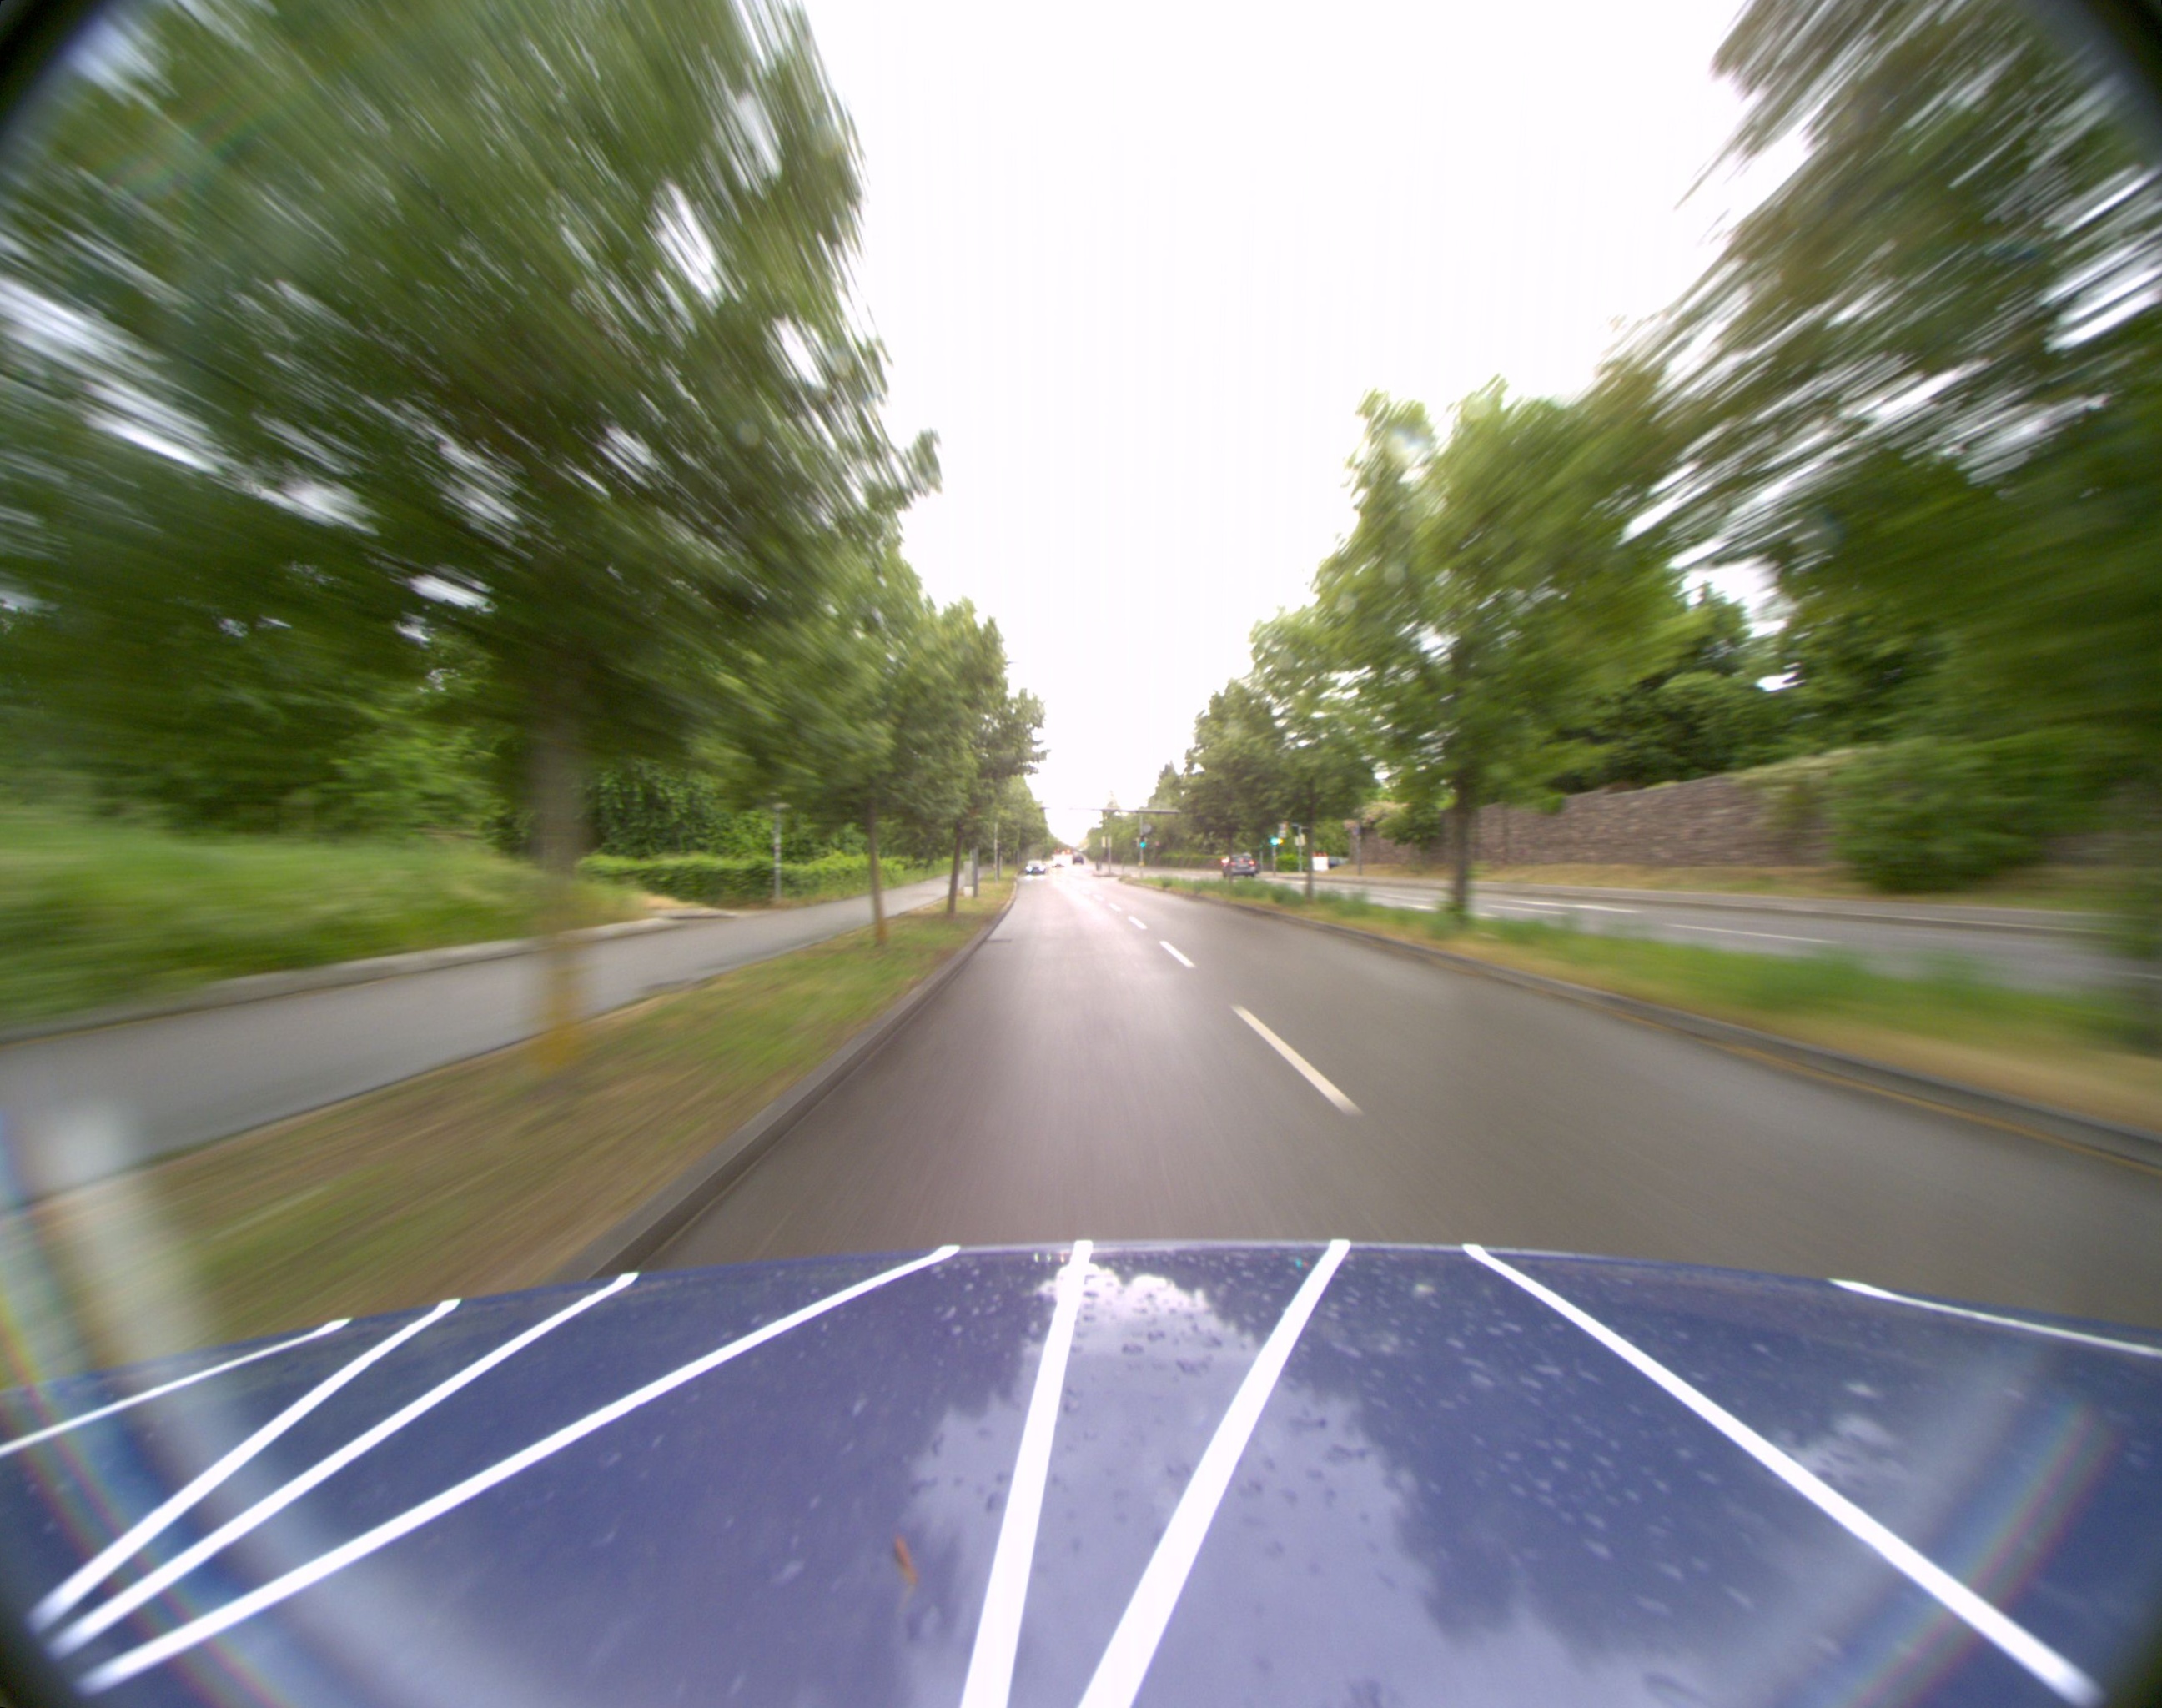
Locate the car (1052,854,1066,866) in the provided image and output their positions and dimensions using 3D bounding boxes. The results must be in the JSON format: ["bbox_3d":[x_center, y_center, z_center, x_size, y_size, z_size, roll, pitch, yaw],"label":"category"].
[{"bbox_3d":[-3.251,0.840,109.559,1.825,1.547,3.998,-1,1,-4],"label":"car"}]

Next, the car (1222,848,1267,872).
[{"bbox_3d":[12.407,0.426,57.380,1.882,1.586,4.775,-2,1,30],"label":"car"}]

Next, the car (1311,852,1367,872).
[{"bbox_3d":[21.252,0.644,62.611,3.999,1.481,1.602,-1,0,-8],"label":"car"}]

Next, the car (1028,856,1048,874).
[{"bbox_3d":[-4.177,1.060,73.942,1.824,1.547,3.998,-1,1,-2],"label":"car"}]

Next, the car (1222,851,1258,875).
[{"bbox_3d":[10.363,0.596,49.654,1.690,1.530,2.916,-1,-1,0],"label":"car"}]

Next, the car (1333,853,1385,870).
[{"bbox_3d":[24.326,0.672,66.605,3.997,1.464,1.692,0,-2,1],"label":"car"}]

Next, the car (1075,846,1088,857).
[{"bbox_3d":[0.014,-0.484,140.379,2.019,1.908,5.093,-1,0,-4],"label":"car"}]
